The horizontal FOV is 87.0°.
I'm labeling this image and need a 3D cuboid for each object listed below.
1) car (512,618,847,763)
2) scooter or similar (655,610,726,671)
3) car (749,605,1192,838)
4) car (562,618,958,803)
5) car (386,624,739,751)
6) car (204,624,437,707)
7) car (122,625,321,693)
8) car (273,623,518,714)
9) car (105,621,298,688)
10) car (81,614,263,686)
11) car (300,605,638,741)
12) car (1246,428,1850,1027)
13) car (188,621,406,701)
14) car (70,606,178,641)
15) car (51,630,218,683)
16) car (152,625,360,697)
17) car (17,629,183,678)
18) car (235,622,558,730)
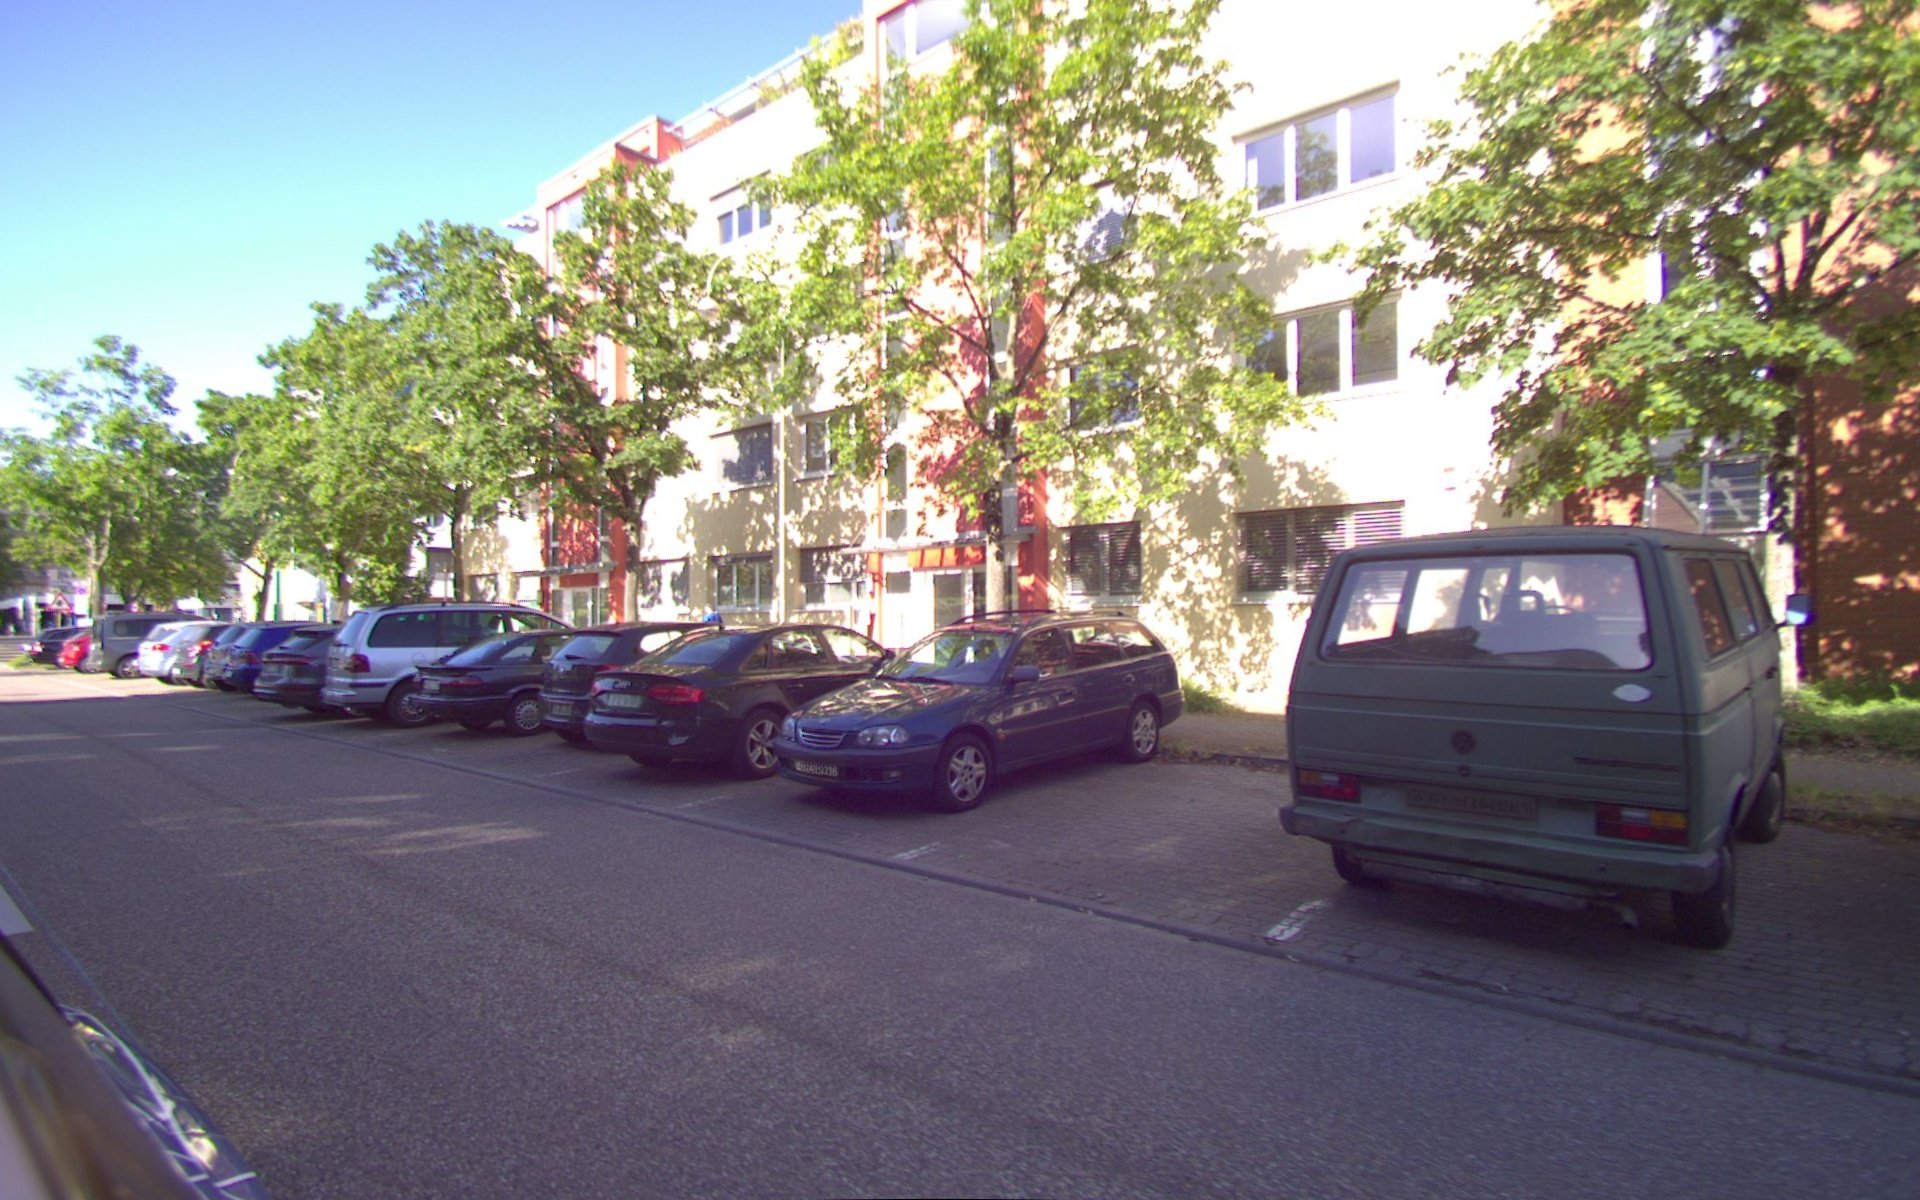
[{"bbox_3d":[-3.353,0.997,12.604,1.724,1.438,3.688,-2,-1,40],"label":"car"},{"bbox_3d":[-6.731,1.016,25.252,2.108,1.457,0.647,-2,-3,41],"label":"scooter or similar"},{"bbox_3d":[0.304,0.864,9.085,1.724,1.539,4.089,-2,-1,41],"label":"car"},{"bbox_3d":[-1.886,0.962,10.356,1.724,1.438,3.688,-2,-1,41],"label":"car"},{"bbox_3d":[-5.367,1.089,14.132,1.756,1.369,4.277,-2,-1,40],"label":"car"},{"bbox_3d":[-13.101,1.273,20.889,1.839,1.438,3.688,-2,-1,40],"label":"car"},{"bbox_3d":[-18.569,1.430,25.562,1.873,1.458,3.691,-2,-1,37],"label":"car"},{"bbox_3d":[-10.678,1.228,19.324,1.771,1.438,3.688,-2,-1,40],"label":"car"},{"bbox_3d":[-20.493,1.412,27.451,1.858,1.586,3.853,-2,-1,39],"label":"car"},{"bbox_3d":[-22.484,1.380,28.981,1.785,1.825,3.851,-2,-1,41],"label":"car"},{"bbox_3d":[-7.412,0.994,15.553,4.270,1.730,1.964,-1,-1,-44],"label":"car"},{"bbox_3d":[3.700,0.442,5.909,2.083,2.105,4.439,-2,-1,43],"label":"car"},{"bbox_3d":[-14.670,1.280,22.516,1.858,1.520,3.688,-2,-1,40],"label":"car"},{"bbox_3d":[-50.339,1.409,61.082,1.983,2.000,4.743,-2,-1,18],"label":"car"},{"bbox_3d":[-26.012,1.735,31.975,1.738,1.434,3.851,-2,-1,41],"label":"car"},{"bbox_3d":[-16.690,1.396,24.135,1.857,1.458,3.691,-2,-1,37],"label":"car"},{"bbox_3d":[-29.630,1.792,34.952,1.740,1.434,4.214,-2,-1,44],"label":"car"},{"bbox_3d":[-9.219,1.153,16.877,1.771,1.438,4.359,-2,-1,39],"label":"car"}]
